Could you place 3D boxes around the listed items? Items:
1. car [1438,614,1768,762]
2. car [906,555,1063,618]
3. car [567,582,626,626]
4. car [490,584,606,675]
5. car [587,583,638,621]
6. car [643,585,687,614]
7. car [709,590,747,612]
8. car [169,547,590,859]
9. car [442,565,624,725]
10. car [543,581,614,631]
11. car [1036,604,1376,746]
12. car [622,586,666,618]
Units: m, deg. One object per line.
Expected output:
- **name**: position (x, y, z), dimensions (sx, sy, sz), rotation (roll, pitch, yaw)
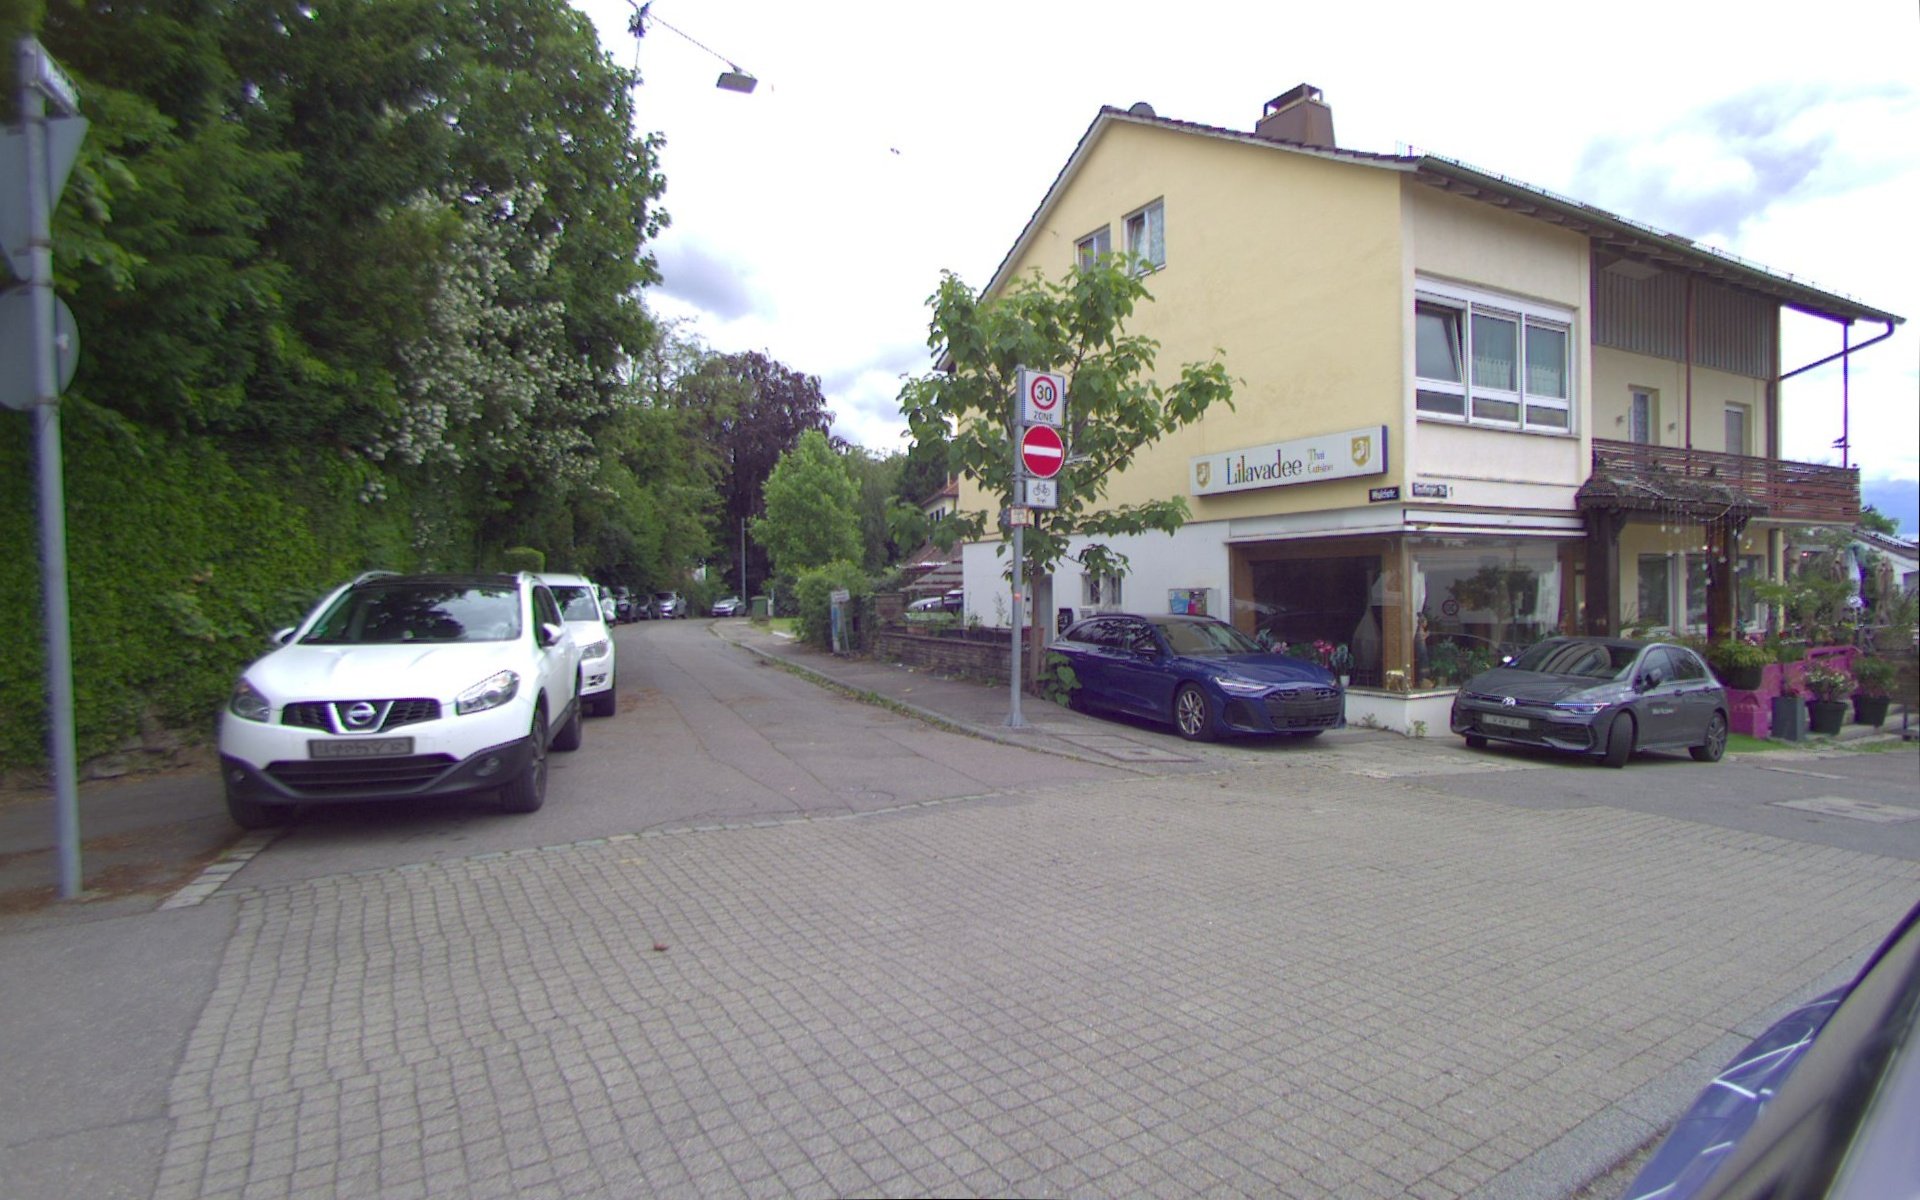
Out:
- **car**: position (7.937, 1.070, 12.378), dimensions (4.242, 1.480, 1.800), rotation (5, -2, -34)
- **car**: position (0.728, -0.369, 30.175), dimensions (4.235, 1.480, 1.802), rotation (4, -2, -19)
- **car**: position (-13.431, 0.109, 37.551), dimensions (1.542, 1.502, 3.481), rotation (-1, 1, -11)
- **car**: position (-7.458, 0.441, 18.568), dimensions (1.761, 1.441, 4.080), rotation (-1, 1, -20)
- **car**: position (-14.215, 0.050, 41.531), dimensions (1.542, 1.502, 3.481), rotation (-1, 1, -11)
- **car**: position (-16.249, -0.035, 55.800), dimensions (1.543, 1.502, 3.476), rotation (0, 1, -3)
- **car**: position (-16.357, 0.035, 71.462), dimensions (1.547, 1.502, 3.468), rotation (0, 1, 7)
- **car**: position (-3.873, 0.511, 7.560), dimensions (1.761, 1.643, 4.144), rotation (-1, 1, -16)
- **car**: position (-5.183, 0.438, 12.615), dimensions (1.761, 1.643, 4.080), rotation (-1, 1, -20)
- **car**: position (-12.225, 0.143, 32.597), dimensions (1.542, 1.502, 3.745), rotation (-1, 1, -11)
- **car**: position (2.908, 0.832, 13.217), dimensions (1.761, 1.405, 4.758), rotation (2, 0, -23)
- **car**: position (-15.925, 0.080, 51.117), dimensions (1.542, 1.502, 3.479), rotation (-1, 1, -8)
